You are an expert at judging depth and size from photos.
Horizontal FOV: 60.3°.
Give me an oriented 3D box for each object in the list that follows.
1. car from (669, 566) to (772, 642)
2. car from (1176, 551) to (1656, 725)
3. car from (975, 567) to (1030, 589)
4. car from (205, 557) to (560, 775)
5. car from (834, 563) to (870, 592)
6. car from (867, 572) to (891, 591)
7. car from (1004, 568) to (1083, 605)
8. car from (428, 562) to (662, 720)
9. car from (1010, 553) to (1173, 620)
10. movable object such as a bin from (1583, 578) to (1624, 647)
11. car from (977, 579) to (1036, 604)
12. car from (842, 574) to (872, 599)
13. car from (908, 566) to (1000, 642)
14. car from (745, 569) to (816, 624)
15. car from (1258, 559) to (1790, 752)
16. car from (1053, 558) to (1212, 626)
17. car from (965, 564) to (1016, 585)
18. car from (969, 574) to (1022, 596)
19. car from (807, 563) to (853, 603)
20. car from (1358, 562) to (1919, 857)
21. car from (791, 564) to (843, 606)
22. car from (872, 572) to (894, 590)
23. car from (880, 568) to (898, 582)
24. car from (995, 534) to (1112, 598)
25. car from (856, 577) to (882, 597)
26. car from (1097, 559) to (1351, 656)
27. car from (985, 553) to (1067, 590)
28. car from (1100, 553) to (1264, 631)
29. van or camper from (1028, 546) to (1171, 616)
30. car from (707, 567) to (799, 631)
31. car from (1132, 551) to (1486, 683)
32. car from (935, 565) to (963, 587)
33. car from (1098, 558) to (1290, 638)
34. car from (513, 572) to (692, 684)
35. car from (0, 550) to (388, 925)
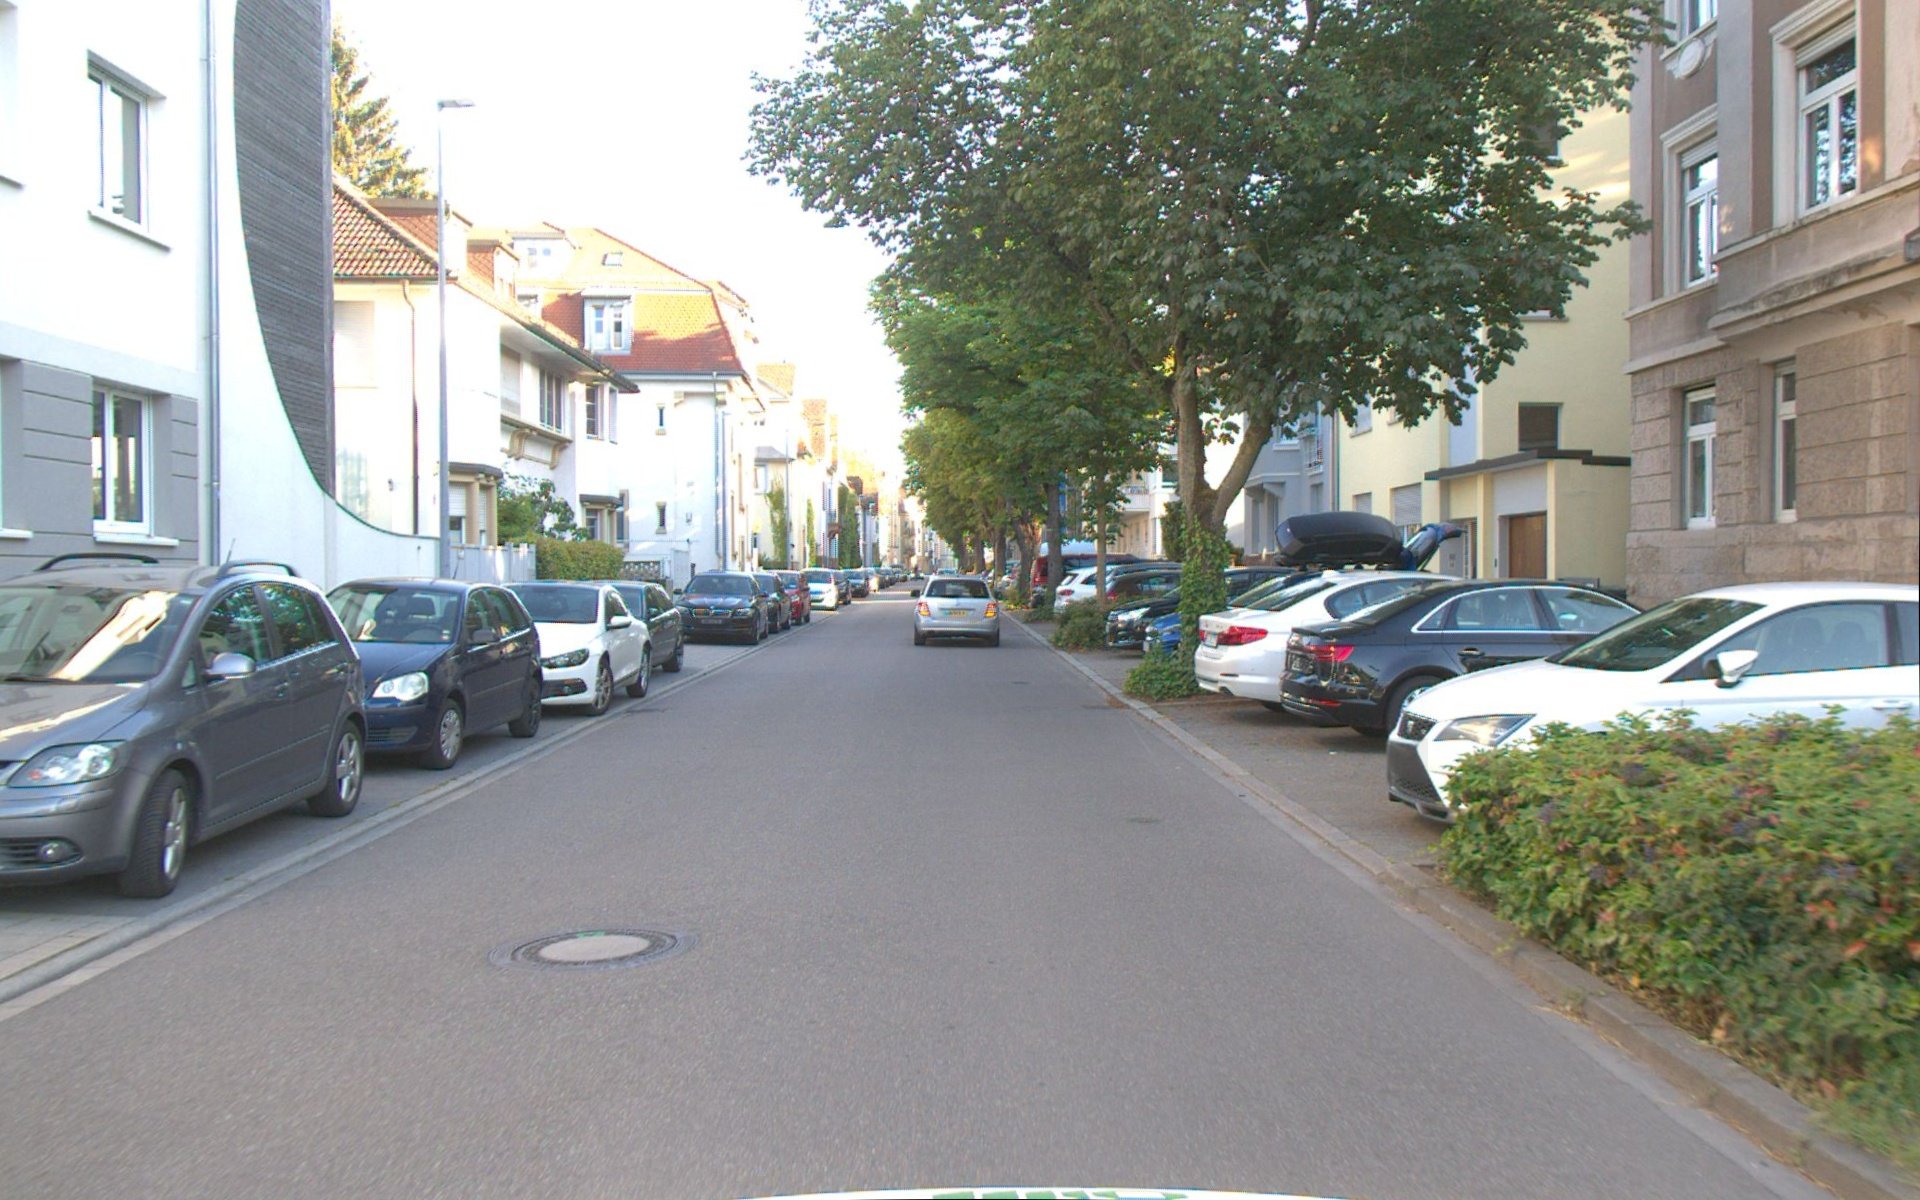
[{"bbox_3d":[-5.108,0.055,35.777,1.817,1.524,4.652,0,1,-4],"label":"car"},{"bbox_3d":[4.631,0.332,17.156,4.391,1.552,1.951,-2,2,-7],"label":"car"},{"bbox_3d":[2.950,-1.547,114.705,3.765,1.508,1.805,0,1,0],"label":"car"},{"bbox_3d":[-4.807,0.461,14.416,1.846,1.618,4.088,0,1,-3],"label":"car"},{"bbox_3d":[-5.841,-1.218,89.674,1.762,1.508,3.857,0,1,-1],"label":"car"},{"bbox_3d":[-6.348,-1.449,129.803,1.762,1.411,3.606,0,1,-1],"label":"car"},{"bbox_3d":[3.859,-0.642,76.968,3.523,1.688,1.649,-1,1,-3],"label":"car"},{"bbox_3d":[-4.619,0.387,18.996,1.846,1.618,4.088,0,1,-3],"label":"car"},{"bbox_3d":[3.767,-0.394,47.914,4.532,1.868,1.954,0,1,-1],"label":"car"},{"bbox_3d":[10.376,0.199,26.676,0.446,1.105,0.532,0,-1,0],"label":"movable object such as a bin"},{"bbox_3d":[2.961,-0.550,106.496,3.765,1.508,1.805,0,1,0],"label":"car"},{"bbox_3d":[-6.578,-0.896,106.078,1.762,1.508,3.857,0,1,-1],"label":"car"},{"bbox_3d":[-0.069,0.072,34.490,1.779,1.498,4.217,0,0,2],"label":"car"},{"bbox_3d":[-5.123,-0.124,47.544,1.625,1.514,3.753,0,1,0],"label":"car"},{"bbox_3d":[4.810,0.442,14.449,4.059,1.473,1.673,-1,1,-2],"label":"car"},{"bbox_3d":[4.170,-0.210,40.407,3.655,1.585,1.725,-1,1,-2],"label":"car"},{"bbox_3d":[2.290,-1.918,123.087,3.765,1.508,1.805,0,1,0],"label":"car"},{"bbox_3d":[2.494,-1.058,116.950,3.765,1.508,1.805,0,1,0],"label":"car"},{"bbox_3d":[-5.634,-0.772,71.891,1.762,1.673,3.857,0,1,-1],"label":"car"},{"bbox_3d":[4.572,0.558,9.782,3.966,1.531,1.861,-1,1,-2],"label":"car"},{"bbox_3d":[-5.366,-0.580,62.435,1.625,1.525,3.753,0,1,0],"label":"car"},{"bbox_3d":[-6.593,-1.633,141.320,1.762,1.411,3.606,0,1,-1],"label":"car"},{"bbox_3d":[-7.363,-2.587,171.182,1.762,1.411,3.606,0,1,-1],"label":"car"},{"bbox_3d":[4.475,-1.662,80.068,5.432,3.020,2.471,-1,1,-3],"label":"car"},{"bbox_3d":[-6.593,-0.975,119.995,1.762,1.411,3.606,0,1,-1],"label":"car"},{"bbox_3d":[4.564,0.112,29.012,4.106,1.585,1.873,-1,1,-2],"label":"car"},{"bbox_3d":[3.711,-1.617,93.085,4.428,2.048,2.250,-1,1,-3],"label":"car"},{"bbox_3d":[5.041,-0.190,37.882,3.476,1.683,1.725,-1,1,-2],"label":"car"},{"bbox_3d":[4.193,-0.586,50.251,4.223,2.049,2.001,0,1,2],"label":"van or camper"},{"bbox_3d":[-5.178,-0.047,41.889,1.747,1.524,4.699,0,1,0],"label":"car"},{"bbox_3d":[4.696,0.202,22.690,4.435,1.669,1.873,-1,1,-2],"label":"car"},{"bbox_3d":[-0.734,-1.642,115.426,1.779,1.498,4.217,0,0,2],"label":"car"},{"bbox_3d":[4.901,-0.061,35.045,3.844,1.585,1.726,-1,1,1],"label":"car"},{"bbox_3d":[-5.085,0.351,24.061,1.722,1.473,4.142,0,1,0],"label":"car"},{"bbox_3d":[-4.706,0.566,9.143,1.846,1.618,4.088,0,1,-3],"label":"car"}]
